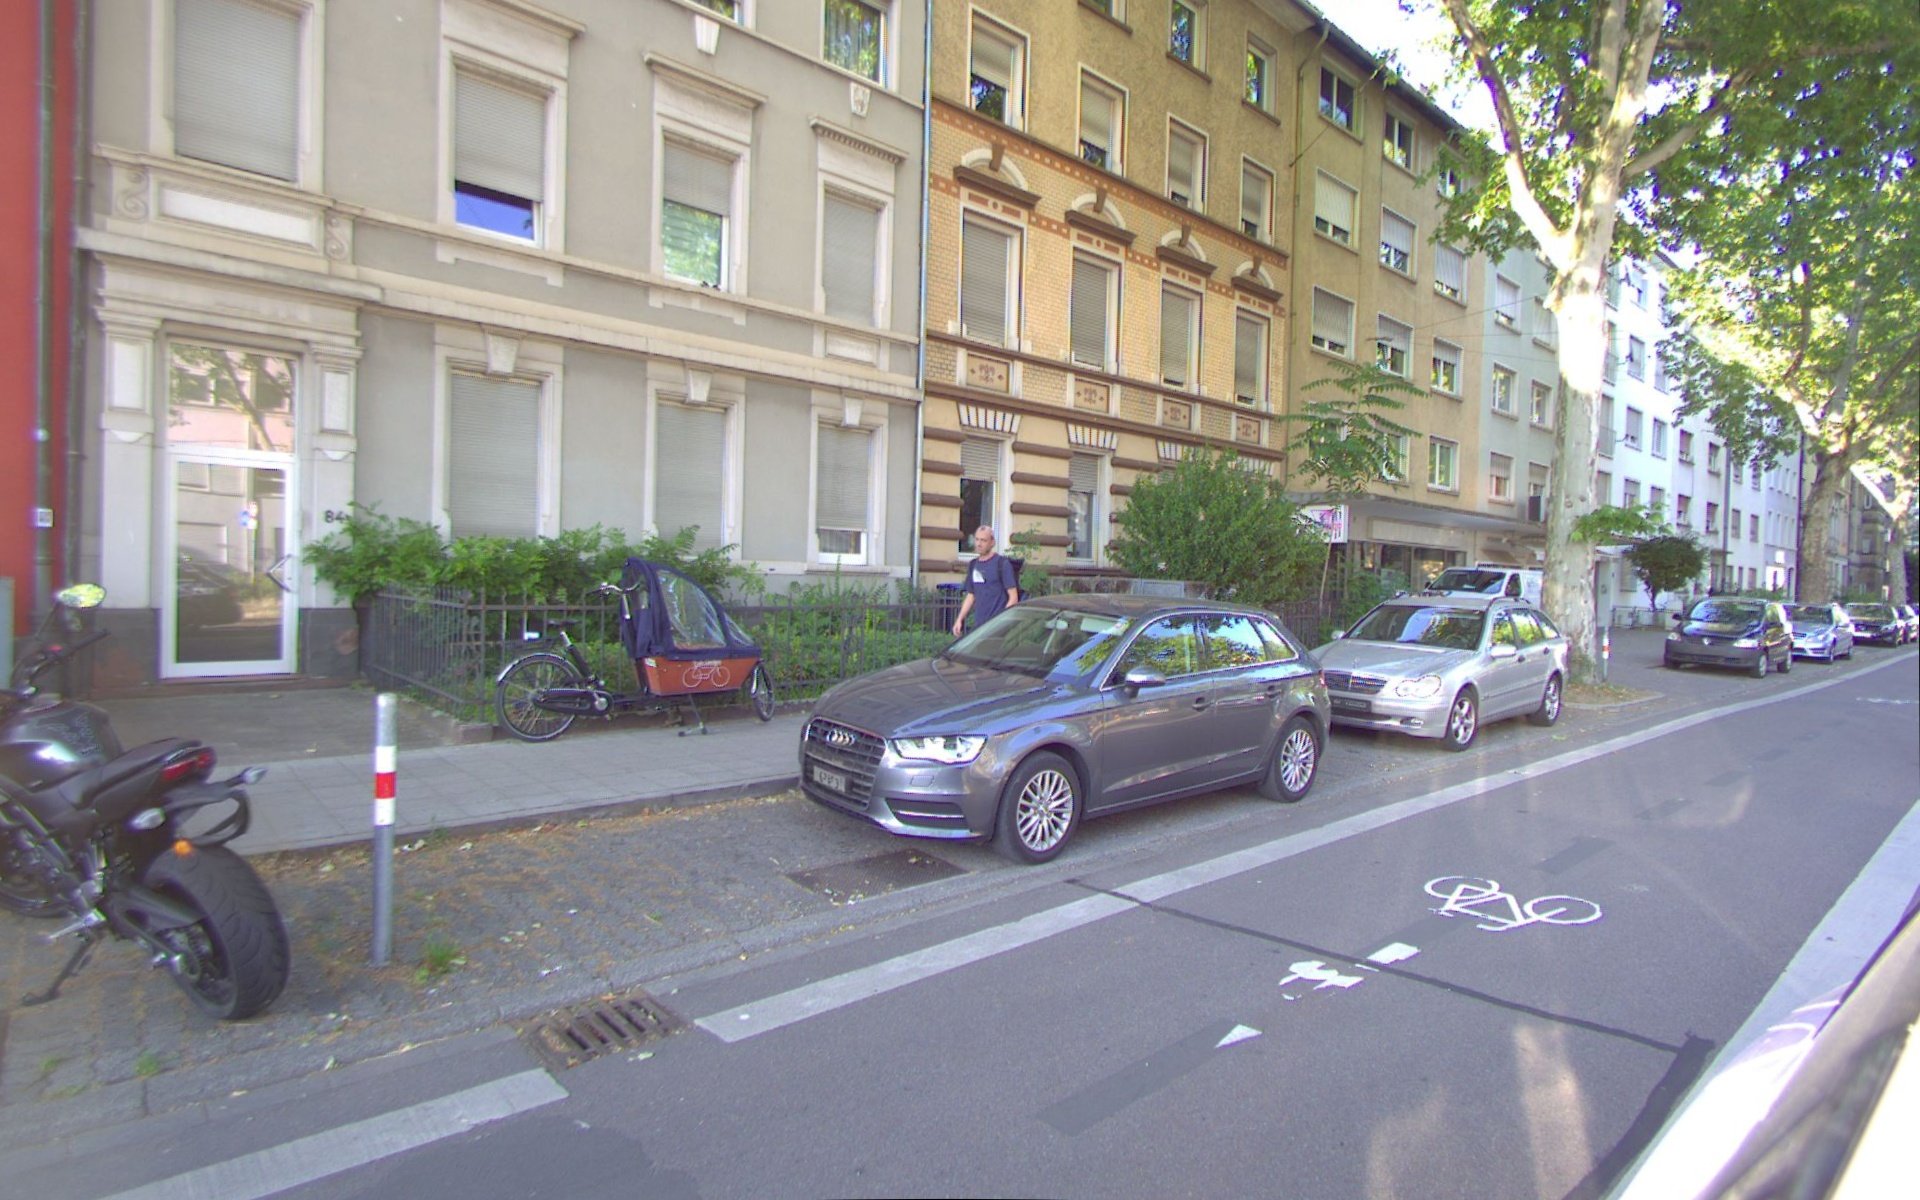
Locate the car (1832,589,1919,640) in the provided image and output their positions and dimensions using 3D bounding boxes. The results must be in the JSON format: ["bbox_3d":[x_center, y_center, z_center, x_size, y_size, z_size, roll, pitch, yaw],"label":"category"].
[{"bbox_3d":[31.361,0.447,34.542,4.295,1.520,1.802,0,4,-42],"label":"car"}]

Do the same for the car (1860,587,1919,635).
[{"bbox_3d":[35.498,0.374,38.139,4.295,1.628,1.802,0,4,-42],"label":"car"}]

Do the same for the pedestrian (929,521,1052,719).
[{"bbox_3d":[0.277,0.150,9.439,0.802,1.731,0.728,-1,4,-41],"label":"pedestrian"}]

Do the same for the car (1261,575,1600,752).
[{"bbox_3d":[5.319,0.537,11.145,4.436,1.472,1.801,0,4,-43],"label":"car"}]

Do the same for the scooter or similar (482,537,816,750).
[{"bbox_3d":[-2.405,0.287,8.128,2.500,1.488,0.666,0,2,-41],"label":"scooter or similar"}]

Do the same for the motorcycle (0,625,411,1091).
[{"bbox_3d":[-3.030,0.748,3.579,2.188,1.124,0.659,4,2,23],"label":"motorcycle"}]

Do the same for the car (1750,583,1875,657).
[{"bbox_3d":[21.807,0.459,25.830,4.295,1.628,1.802,0,4,-42],"label":"car"}]

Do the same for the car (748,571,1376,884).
[{"bbox_3d":[0.915,0.595,6.964,4.293,1.418,1.802,0,4,-41],"label":"car"}]

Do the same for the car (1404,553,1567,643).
[{"bbox_3d":[12.787,-0.086,24.491,4.597,1.897,1.932,0,4,-42],"label":"car"}]

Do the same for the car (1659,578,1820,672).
[{"bbox_3d":[16.068,0.440,20.786,4.295,1.628,1.802,0,4,-42],"label":"car"}]

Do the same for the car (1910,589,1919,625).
[{"bbox_3d":[46.704,0.377,48.129,4.034,1.628,1.802,0,4,-42],"label":"car"}]
